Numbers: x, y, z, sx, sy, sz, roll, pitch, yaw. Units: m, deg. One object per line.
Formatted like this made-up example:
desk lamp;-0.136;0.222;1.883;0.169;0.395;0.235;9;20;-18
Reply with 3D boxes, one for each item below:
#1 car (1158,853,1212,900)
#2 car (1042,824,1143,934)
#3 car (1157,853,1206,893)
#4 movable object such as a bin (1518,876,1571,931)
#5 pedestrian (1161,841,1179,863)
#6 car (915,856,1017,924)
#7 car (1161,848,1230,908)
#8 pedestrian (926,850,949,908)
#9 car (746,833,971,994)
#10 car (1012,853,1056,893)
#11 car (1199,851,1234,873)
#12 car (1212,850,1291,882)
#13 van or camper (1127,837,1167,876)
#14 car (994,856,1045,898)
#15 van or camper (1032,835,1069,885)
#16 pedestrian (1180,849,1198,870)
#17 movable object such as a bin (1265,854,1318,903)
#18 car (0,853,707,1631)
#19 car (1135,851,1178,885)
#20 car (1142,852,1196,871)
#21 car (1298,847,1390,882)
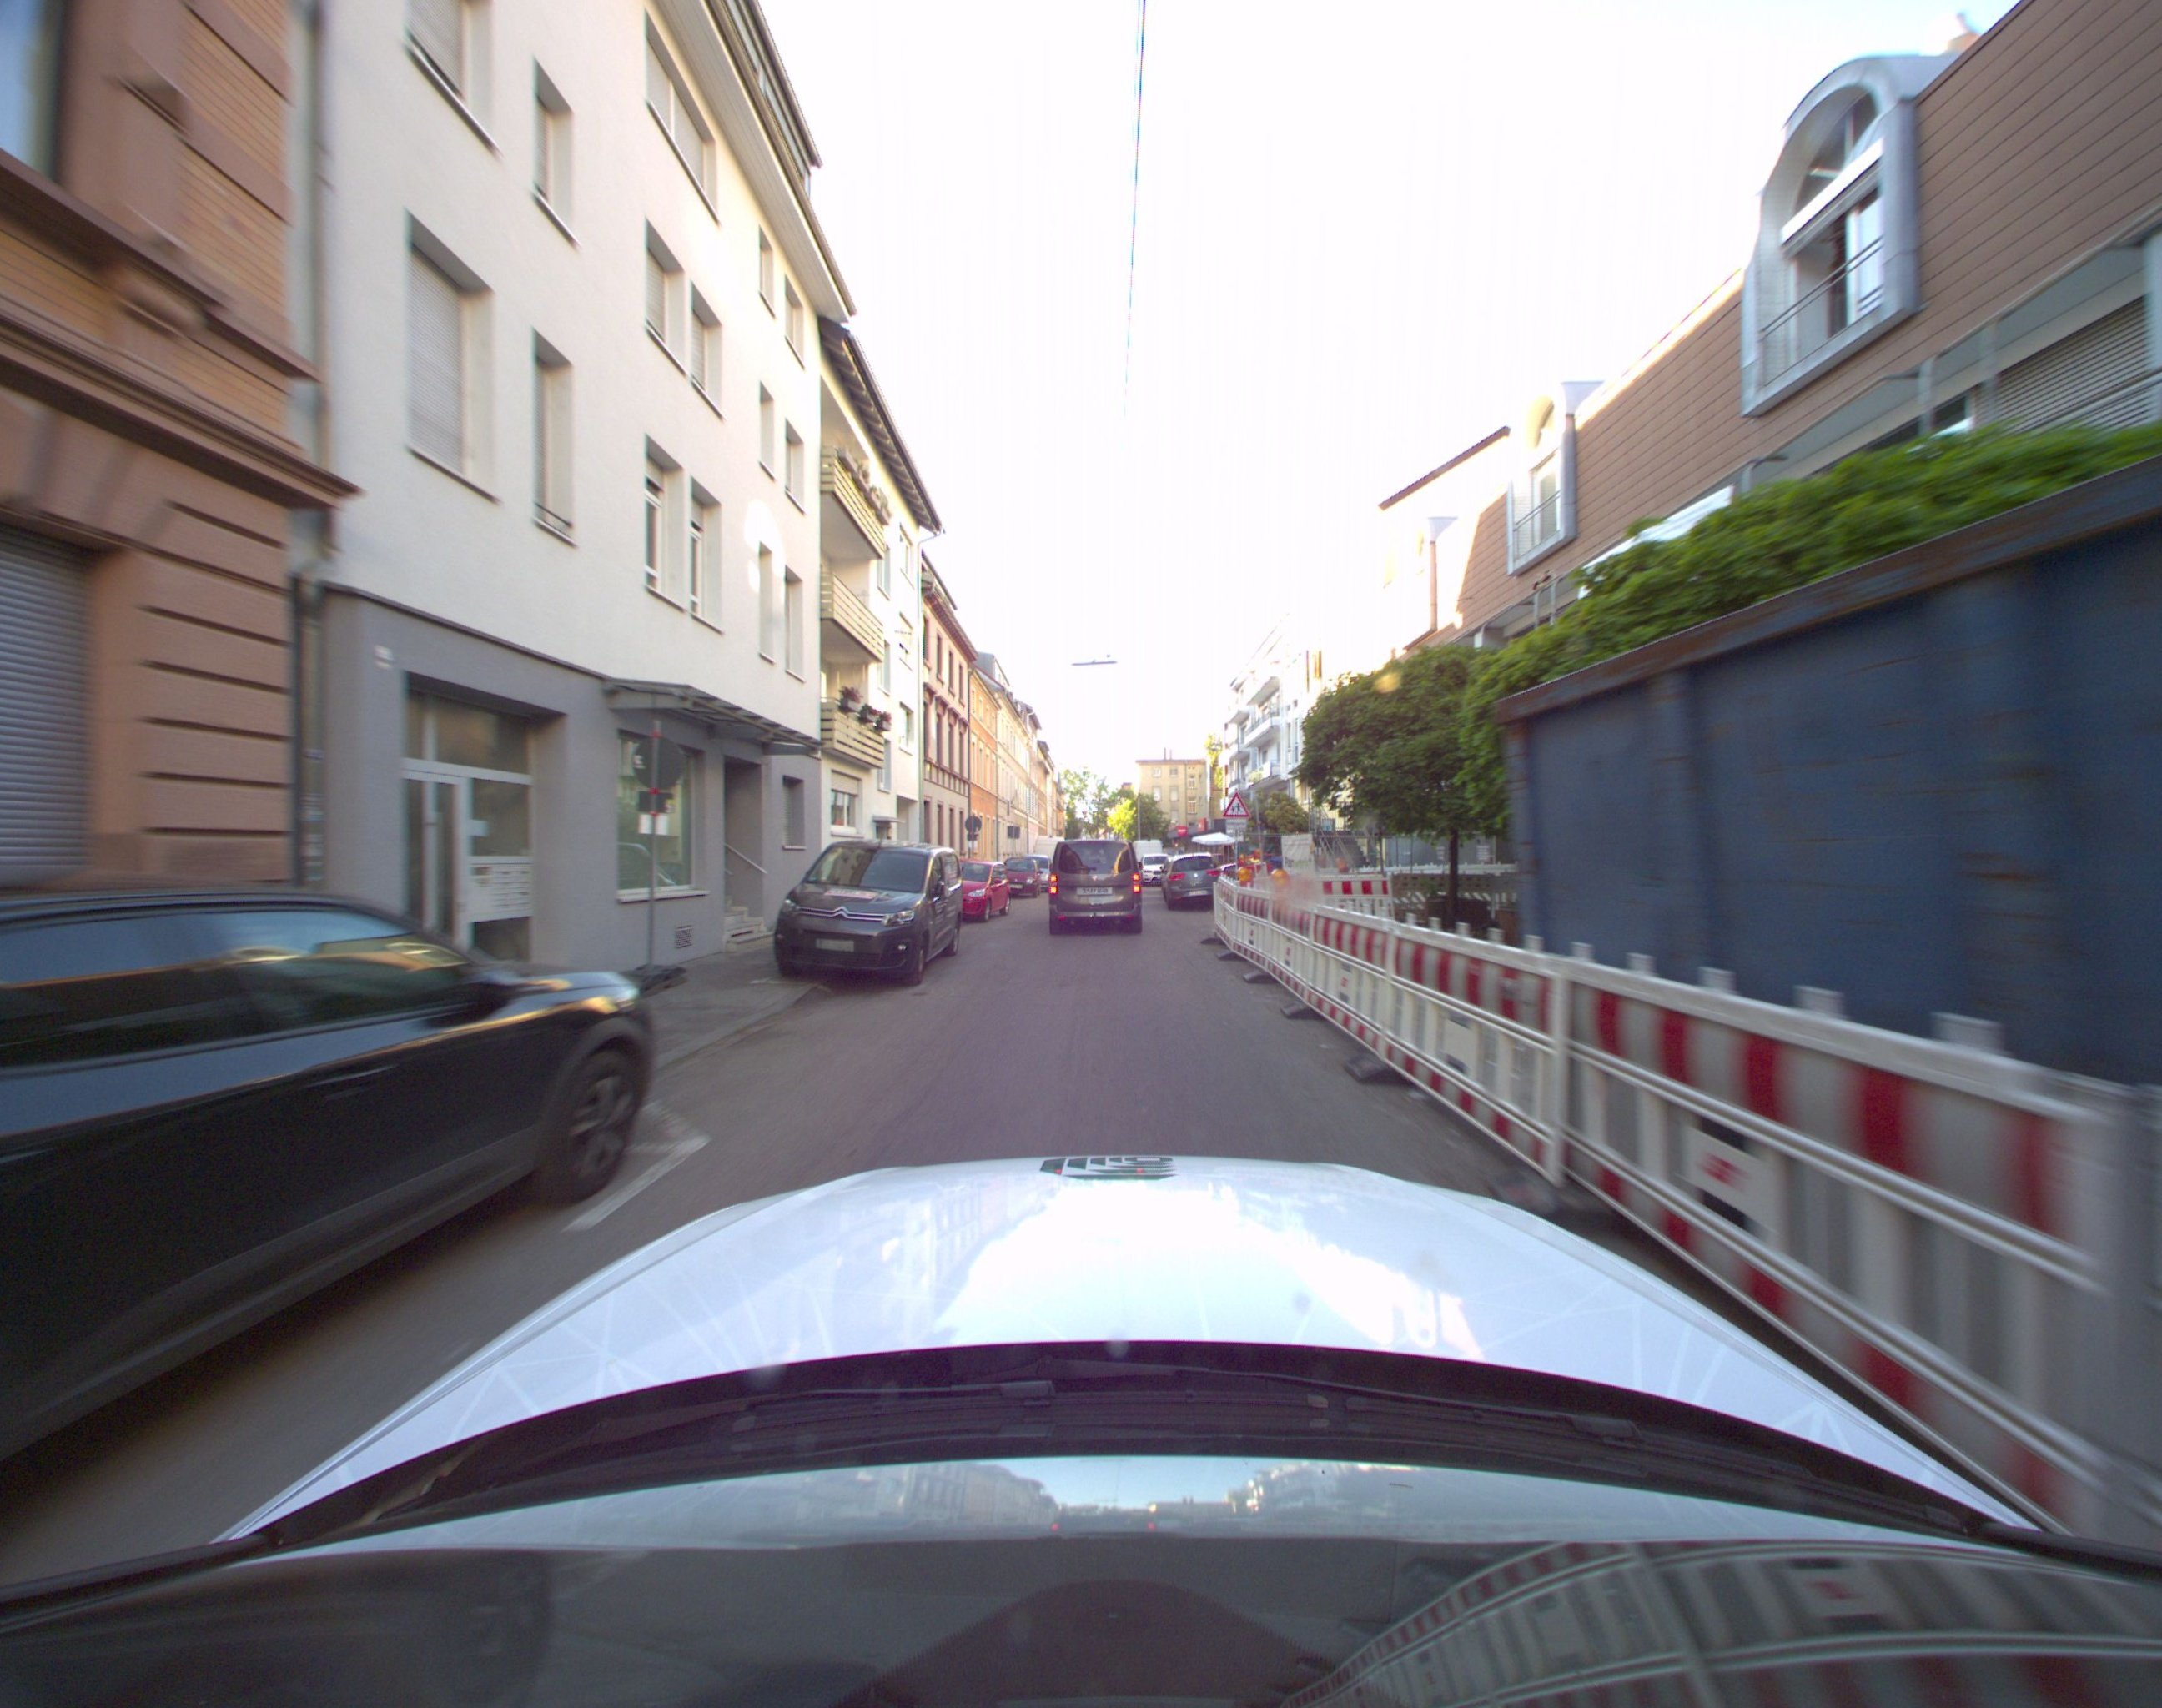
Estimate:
car;3.705;0.764;29.500;1.616;1.557;3.695;0;0;1
car;0.239;0.475;17.506;1.851;2.013;4.000;-2;0;0
car;4.148;0.762;34.145;1.614;1.486;4.126;-3;0;1
movable object such as a bin;8.664;0.919;15.242;0.555;0.976;0.712;1;0;-3
pedestrian;6.405;-0.122;58.686;0.874;1.555;0.869;-3;0;-21
car;-2.867;0.847;21.118;1.660;1.485;3.612;4;0;6
car;3.423;0.669;25.076;1.741;1.683;4.529;0;0;3
pedestrian;-4.145;0.709;23.546;0.493;1.638;0.666;1;0;1
car;-2.902;0.688;11.777;1.987;1.858;4.584;0;0;0
car;-2.081;0.808;36.762;1.706;1.644;3.979;2;0;0
car;9.250;0.553;55.407;1.585;1.416;3.247;-1;0;24
car;8.977;0.623;43.071;3.883;1.607;1.694;1;0;0
van or camper;4.645;0.162;58.349;2.093;2.602;7.510;-2;0;0
car;-2.333;0.855;31.491;1.651;1.448;3.285;3;0;0
van or camper;-1.739;0.321;48.197;1.943;2.649;7.138;-2;0;-1
pedestrian;8.904;0.456;67.309;0.939;1.720;1.052;-2;0;-33
movable object such as a bin;6.053;0.700;23.434;1.256;1.376;0.795;1;0;-24
car;-3.083;0.801;2.761;1.734;1.599;4.014;0;0;0
car;3.850;0.695;42.319;1.717;1.612;4.586;-1;0;-1
car;7.813;0.656;72.491;4.609;1.466;1.841;-3;0;0
car;13.549;0.520;42.126;4.098;1.659;1.998;-1;0;-3
